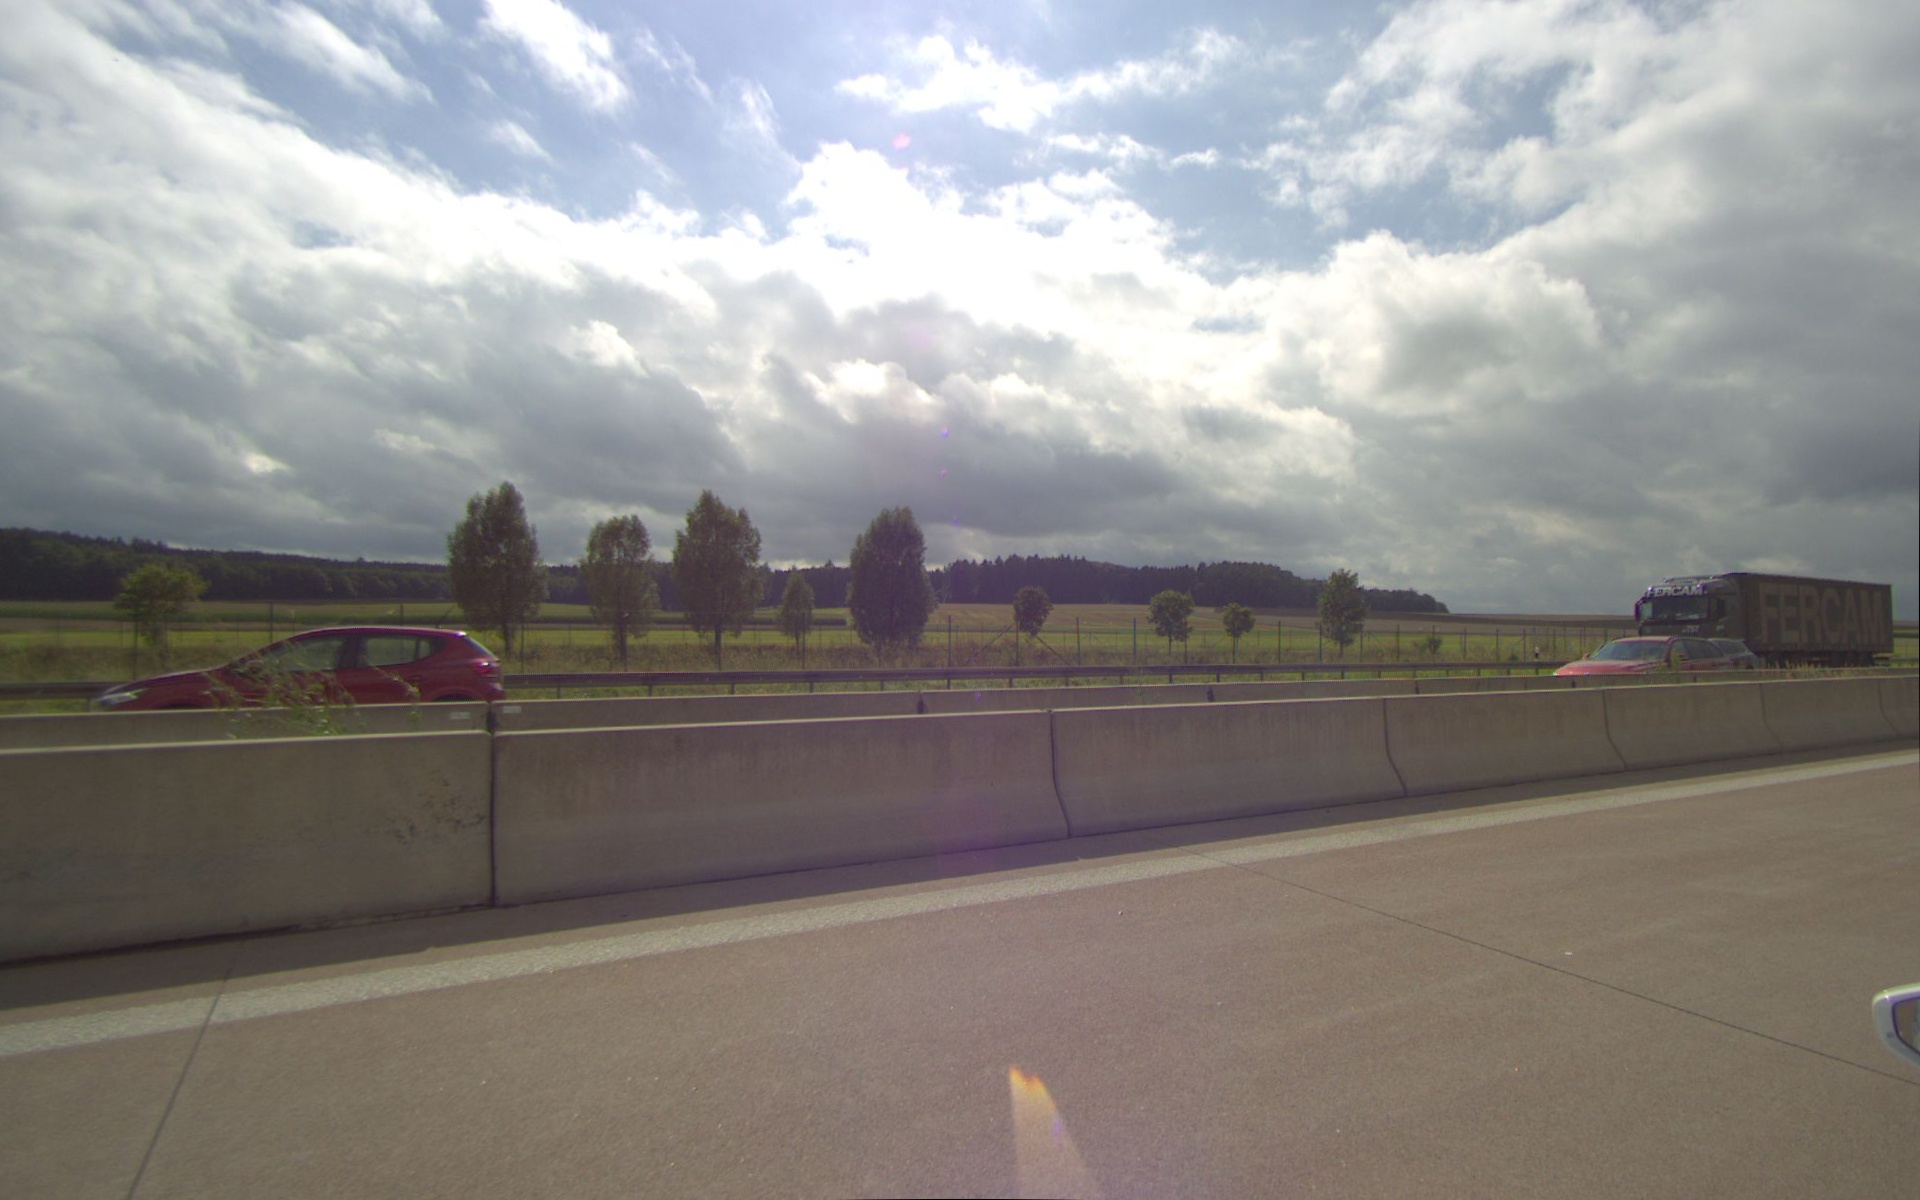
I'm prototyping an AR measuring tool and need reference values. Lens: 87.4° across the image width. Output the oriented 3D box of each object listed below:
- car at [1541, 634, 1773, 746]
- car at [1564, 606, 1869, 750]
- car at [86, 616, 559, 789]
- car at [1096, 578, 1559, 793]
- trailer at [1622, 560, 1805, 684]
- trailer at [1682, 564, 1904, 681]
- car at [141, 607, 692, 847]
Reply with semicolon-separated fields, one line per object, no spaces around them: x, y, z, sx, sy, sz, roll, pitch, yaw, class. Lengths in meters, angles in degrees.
14.577;1.764;20.930;5.157;2.009;1.984;1;0;-30;car
10.511;0.978;13.920;4.034;1.684;1.963;1;0;-30;car
-7.358;1.092;12.093;4.439;1.684;1.963;1;0;-31;car
3.653;0.700;9.800;4.381;1.684;1.875;1;0;-30;car
28.518;0.813;37.977;6.925;4.305;2.993;1;0;-30;trailer
34.551;0.935;41.454;11.950;4.321;3.007;1;0;-30;trailer
-3.184;0.660;6.212;2.725;1.167;1.217;1;0;-30;car
